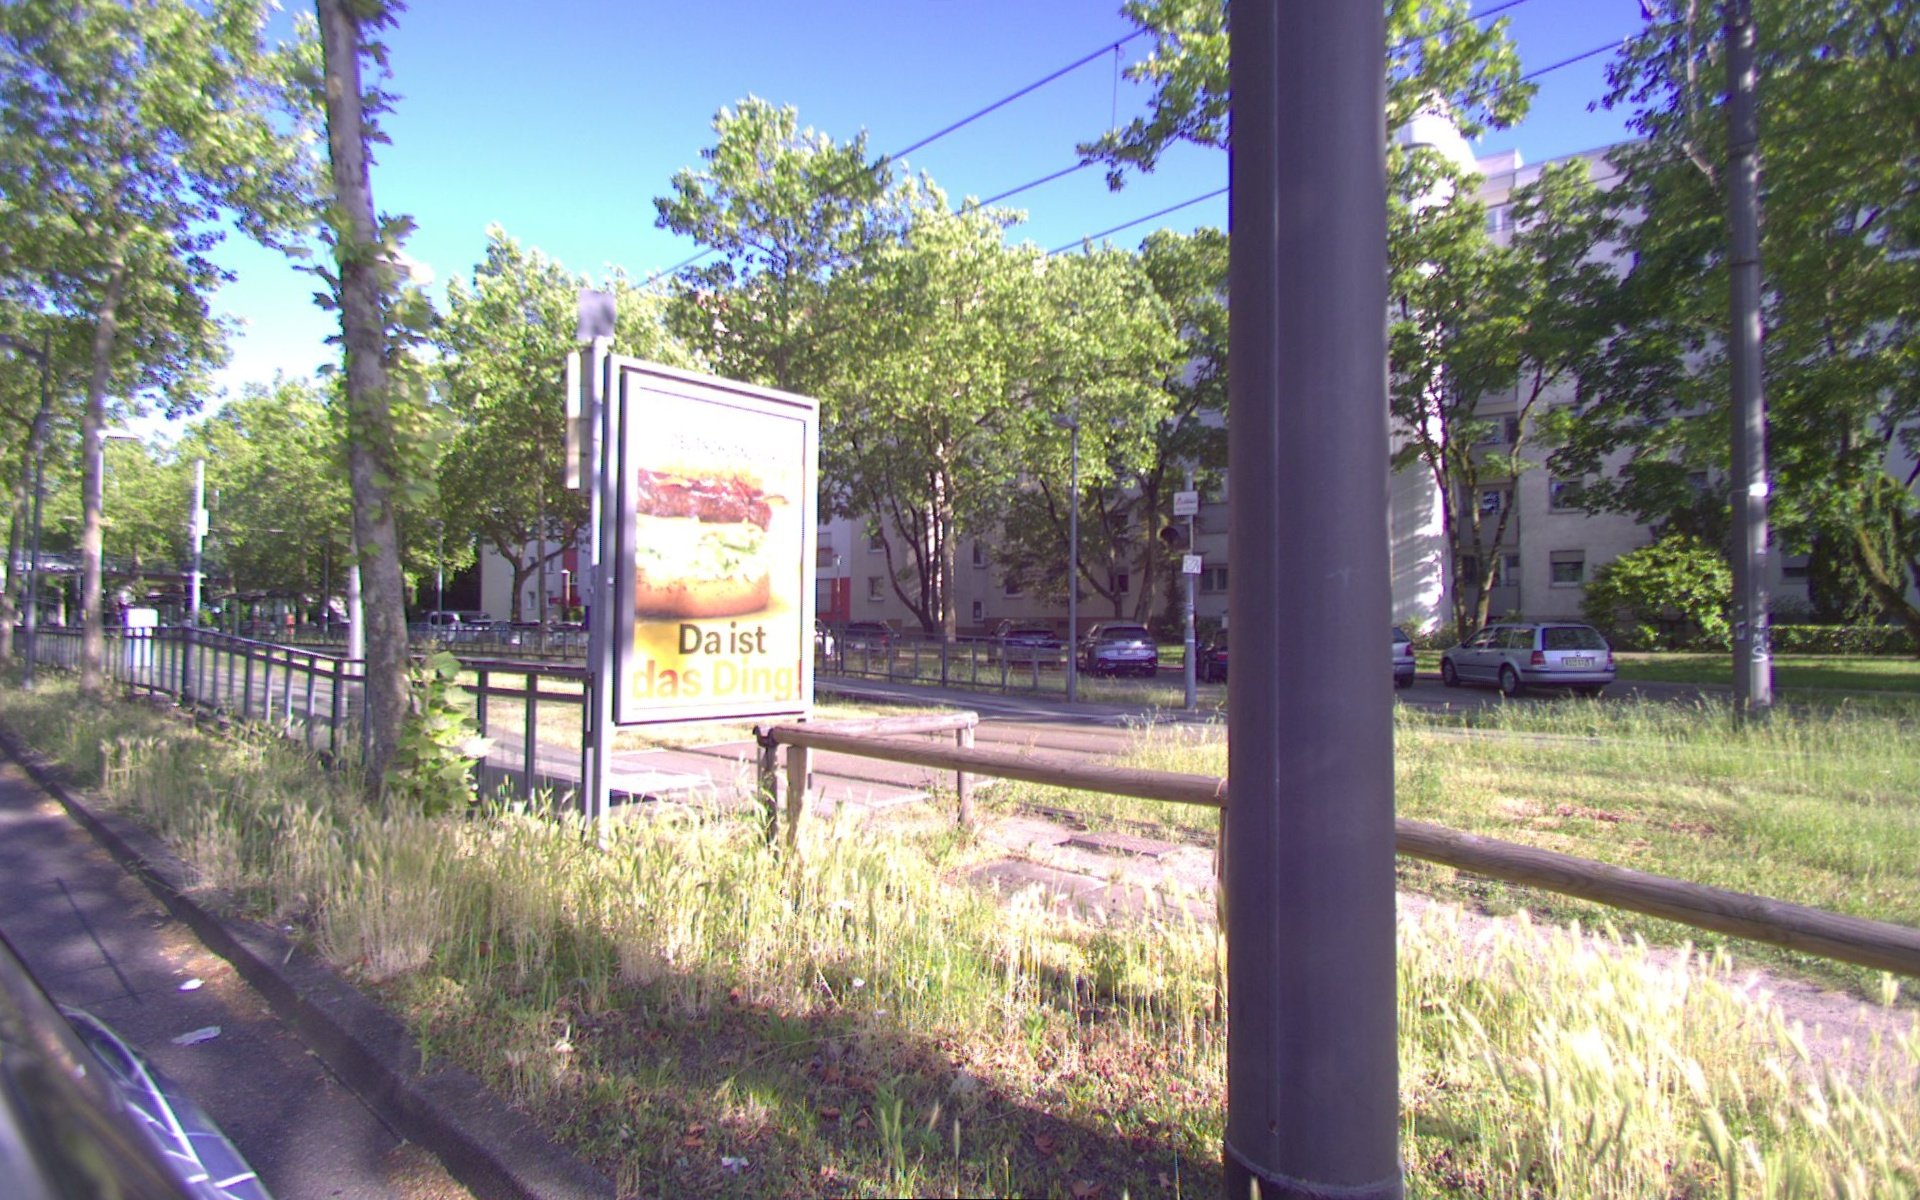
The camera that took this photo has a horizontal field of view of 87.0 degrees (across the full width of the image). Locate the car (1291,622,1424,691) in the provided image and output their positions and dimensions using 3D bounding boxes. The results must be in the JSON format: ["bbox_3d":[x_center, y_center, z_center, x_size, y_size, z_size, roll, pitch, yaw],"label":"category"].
[{"bbox_3d":[9.135,1.242,23.539,1.553,1.431,3.620,-1,-1,-1],"label":"car"}]

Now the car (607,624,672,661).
[{"bbox_3d":[-14.028,1.845,44.487,1.470,1.425,3.880,-1,0,3],"label":"car"}]

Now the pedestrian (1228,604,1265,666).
[{"bbox_3d":[8.311,1.008,29.360,0.755,1.770,0.752,-2,-2,41],"label":"pedestrian"}]

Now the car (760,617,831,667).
[{"bbox_3d":[-5.994,1.490,37.221,1.791,1.607,3.997,-1,0,3],"label":"car"}]

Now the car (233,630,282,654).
[{"bbox_3d":[-46.877,2.783,67.521,4.100,1.523,1.746,-1,-2,41],"label":"car"}]

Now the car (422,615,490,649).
[{"bbox_3d":[-28.369,1.769,57.115,1.843,1.826,4.047,0,-1,0],"label":"car"}]

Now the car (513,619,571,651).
[{"bbox_3d":[-21.202,1.754,51.446,1.539,1.436,3.489,-3,0,-2],"label":"car"}]

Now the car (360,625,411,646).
[{"bbox_3d":[-37.496,2.292,66.123,1.459,1.330,3.488,0,-1,-1],"label":"car"}]

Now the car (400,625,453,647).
[{"bbox_3d":[-33.031,2.203,62.731,1.459,1.311,3.488,0,-1,-1],"label":"car"}]

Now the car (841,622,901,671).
[{"bbox_3d":[-3.004,1.546,34.672,1.538,1.439,3.761,-1,0,3],"label":"car"}]

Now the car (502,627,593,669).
[{"bbox_3d":[-16.197,1.843,39.662,4.332,1.534,1.785,-1,-2,45],"label":"car"}]

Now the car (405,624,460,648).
[{"bbox_3d":[-30.935,2.091,59.442,1.459,1.354,3.488,0,-1,-1],"label":"car"}]

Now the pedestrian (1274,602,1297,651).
[{"bbox_3d":[11.768,0.964,36.633,0.634,1.770,0.516,-1,-2,39],"label":"pedestrian"}]

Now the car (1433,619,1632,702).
[{"bbox_3d":[11.530,1.157,20.726,1.685,1.454,3.978,-1,0,-2],"label":"car"}]

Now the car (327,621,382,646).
[{"bbox_3d":[-40.649,2.227,68.000,1.578,1.582,3.830,0,-1,-3],"label":"car"}]

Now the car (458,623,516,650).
[{"bbox_3d":[-25.866,1.979,55.446,1.605,1.414,3.488,0,-1,-1],"label":"car"}]

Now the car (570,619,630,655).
[{"bbox_3d":[-16.656,1.702,46.999,1.445,1.519,3.393,-1,0,3],"label":"car"}]

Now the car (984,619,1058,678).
[{"bbox_3d":[1.724,1.379,29.831,1.669,1.499,4.003,-1,0,-4],"label":"car"}]

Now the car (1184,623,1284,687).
[{"bbox_3d":[6.750,1.318,25.319,1.572,1.360,3.922,-1,0,3],"label":"car"}]

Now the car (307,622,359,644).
[{"bbox_3d":[-44.905,2.361,72.549,1.578,1.538,3.737,0,-1,-3],"label":"car"}]

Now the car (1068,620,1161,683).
[{"bbox_3d":[4.136,1.336,27.695,1.650,1.469,4.004,-1,0,-4],"label":"car"}]

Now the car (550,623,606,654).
[{"bbox_3d":[-18.613,1.843,49.432,1.459,1.339,3.488,-2,0,-1],"label":"car"}]
